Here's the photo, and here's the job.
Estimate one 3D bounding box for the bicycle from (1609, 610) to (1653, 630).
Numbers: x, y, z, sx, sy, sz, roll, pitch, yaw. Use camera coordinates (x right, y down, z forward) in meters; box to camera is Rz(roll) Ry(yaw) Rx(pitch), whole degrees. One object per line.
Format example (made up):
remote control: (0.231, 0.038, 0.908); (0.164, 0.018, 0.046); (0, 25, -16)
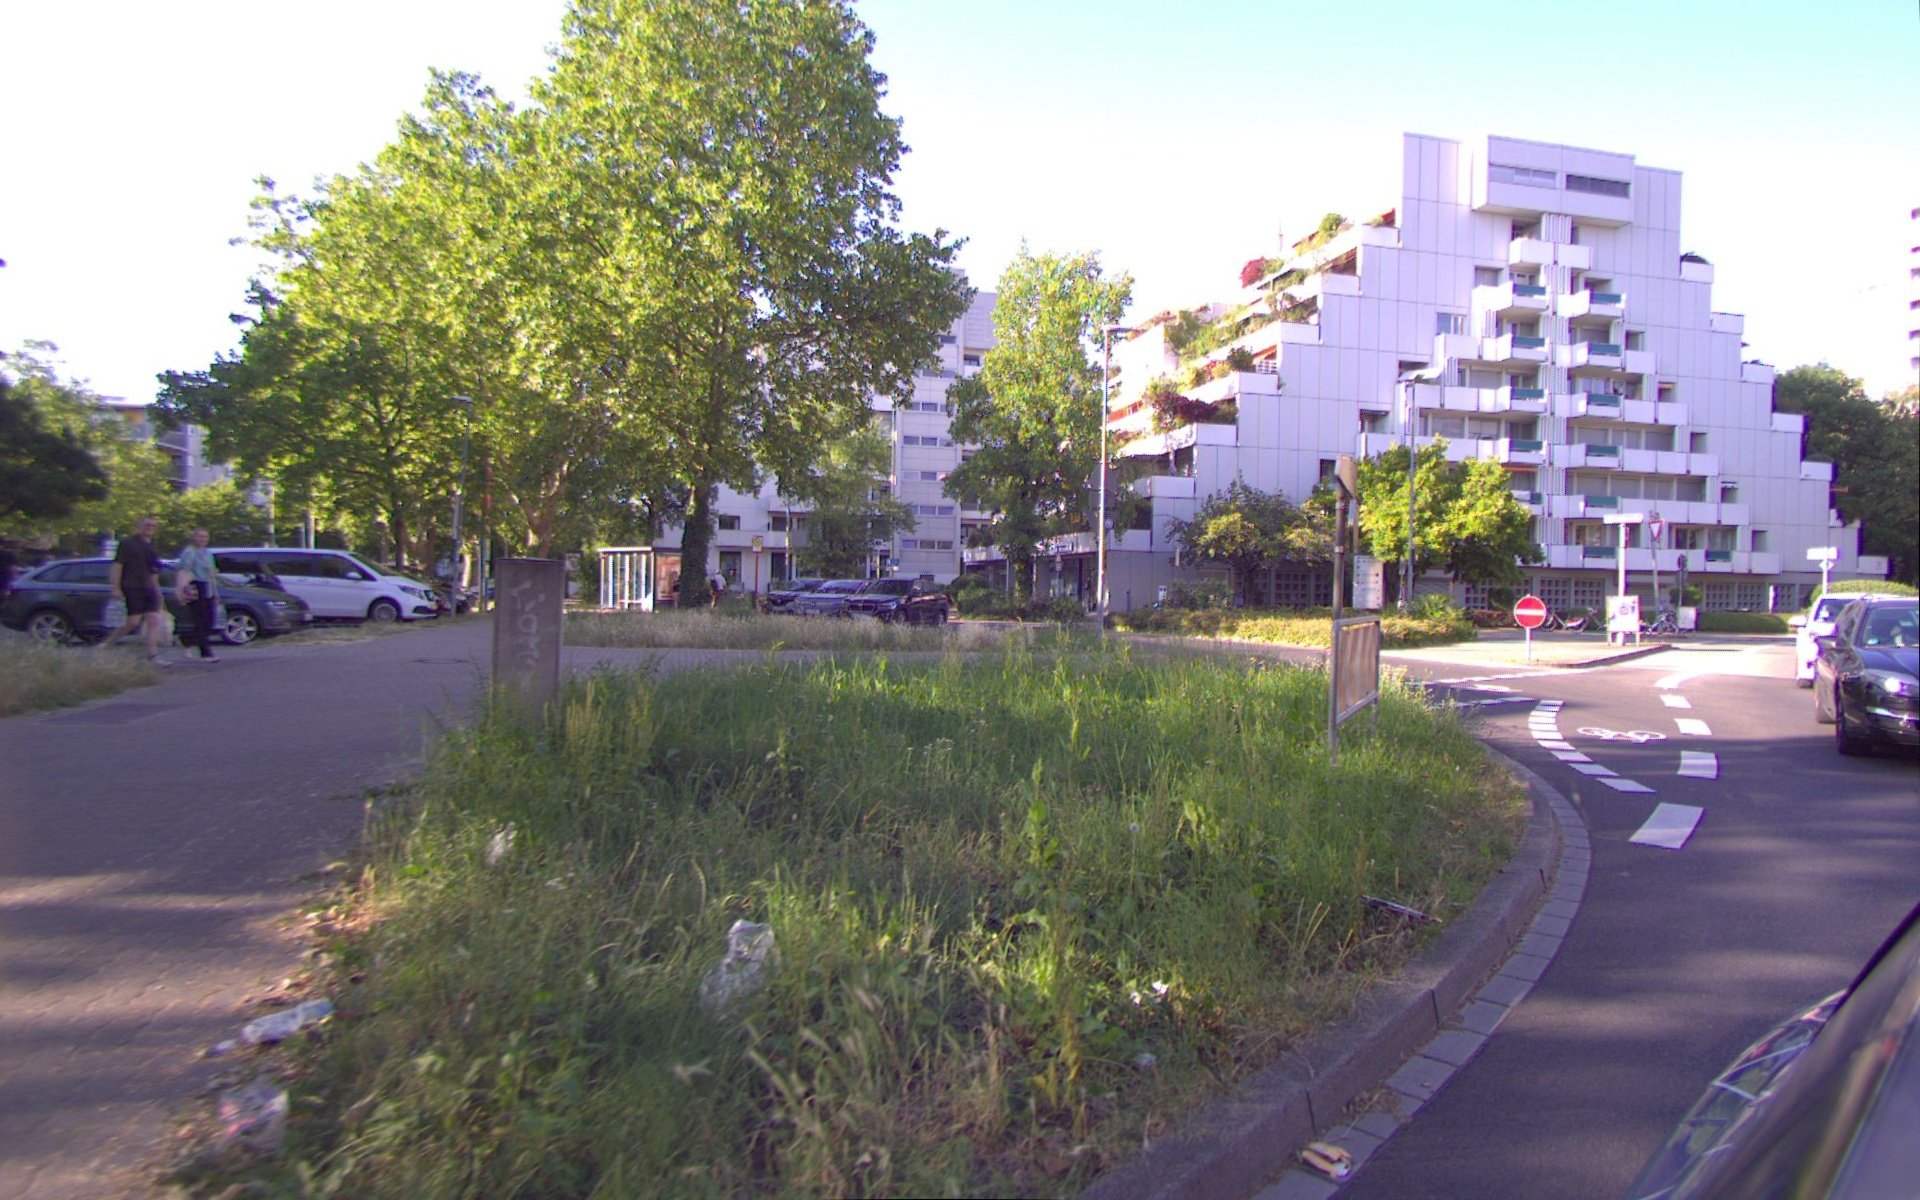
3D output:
bicycle: (28.957, 0.847, 43.706); (1.566, 0.794, 0.458); (2, 1, 35)

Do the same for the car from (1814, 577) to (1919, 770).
car: (9.544, 0.612, 9.703); (1.835, 1.565, 4.462); (0, -1, 37)

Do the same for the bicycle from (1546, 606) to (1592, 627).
bicycle: (26.650, 0.724, 44.302); (1.669, 0.848, 0.464); (1, 1, 3)

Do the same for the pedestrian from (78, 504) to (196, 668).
pedestrian: (-10.208, -0.184, 12.576); (0.824, 1.956, 0.780); (1, 1, 8)

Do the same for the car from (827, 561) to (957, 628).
car: (-1.858, -0.107, 29.108); (1.916, 1.680, 4.443); (4, 0, 22)

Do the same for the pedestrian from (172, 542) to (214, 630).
pedestrian: (-15.643, -0.293, 20.642); (0.521, 1.773, 0.562); (-1, 1, -22)

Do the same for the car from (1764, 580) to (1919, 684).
car: (14.468, 0.451, 16.049); (3.465, 1.472, 1.656); (1, 1, -33)

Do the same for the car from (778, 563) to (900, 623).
car: (-3.636, -0.157, 31.253); (1.807, 1.607, 4.336); (4, 0, 22)

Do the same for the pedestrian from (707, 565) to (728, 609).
pedestrian: (-9.383, -0.492, 39.176); (0.711, 1.683, 0.746); (1, 1, -7)

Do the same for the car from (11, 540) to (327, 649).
car: (-13.437, -0.078, 17.493); (3.903, 1.542, 1.679); (4, 0, -21)

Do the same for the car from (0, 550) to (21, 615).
car: (-26.230, -0.491, 25.349); (3.600, 1.654, 1.582); (1, 0, -16)

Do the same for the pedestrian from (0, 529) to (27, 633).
pedestrian: (-17.371, -0.348, 18.255); (0.674, 1.832, 0.964); (1, 1, -37)

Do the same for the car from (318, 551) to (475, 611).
car: (-19.961, -0.658, 35.926); (4.546, 1.798, 2.001); (4, 0, -37)

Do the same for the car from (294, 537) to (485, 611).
car: (-16.920, -0.760, 30.299); (4.536, 1.798, 2.006); (4, 0, -16)

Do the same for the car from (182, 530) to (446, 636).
car: (-15.542, -0.381, 24.687); (4.945, 2.123, 2.006); (4, 0, -16)

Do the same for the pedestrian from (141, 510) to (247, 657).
pedestrian: (-10.225, -0.225, 13.532); (0.772, 1.903, 0.802); (1, 1, 7)

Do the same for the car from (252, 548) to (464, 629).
car: (-16.344, -0.300, 27.744); (4.536, 1.798, 2.006); (4, 0, -16)

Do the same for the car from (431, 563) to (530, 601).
car: (-24.008, -0.901, 50.787); (1.989, 1.821, 4.056); (0, 1, 38)

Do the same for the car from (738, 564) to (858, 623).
car: (-5.269, -0.176, 33.437); (1.856, 1.659, 3.959); (3, -1, 28)

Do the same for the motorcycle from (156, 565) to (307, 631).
motorcycle: (-14.469, -0.040, 20.189); (2.268, 1.263, 0.954); (1, 1, -21)
